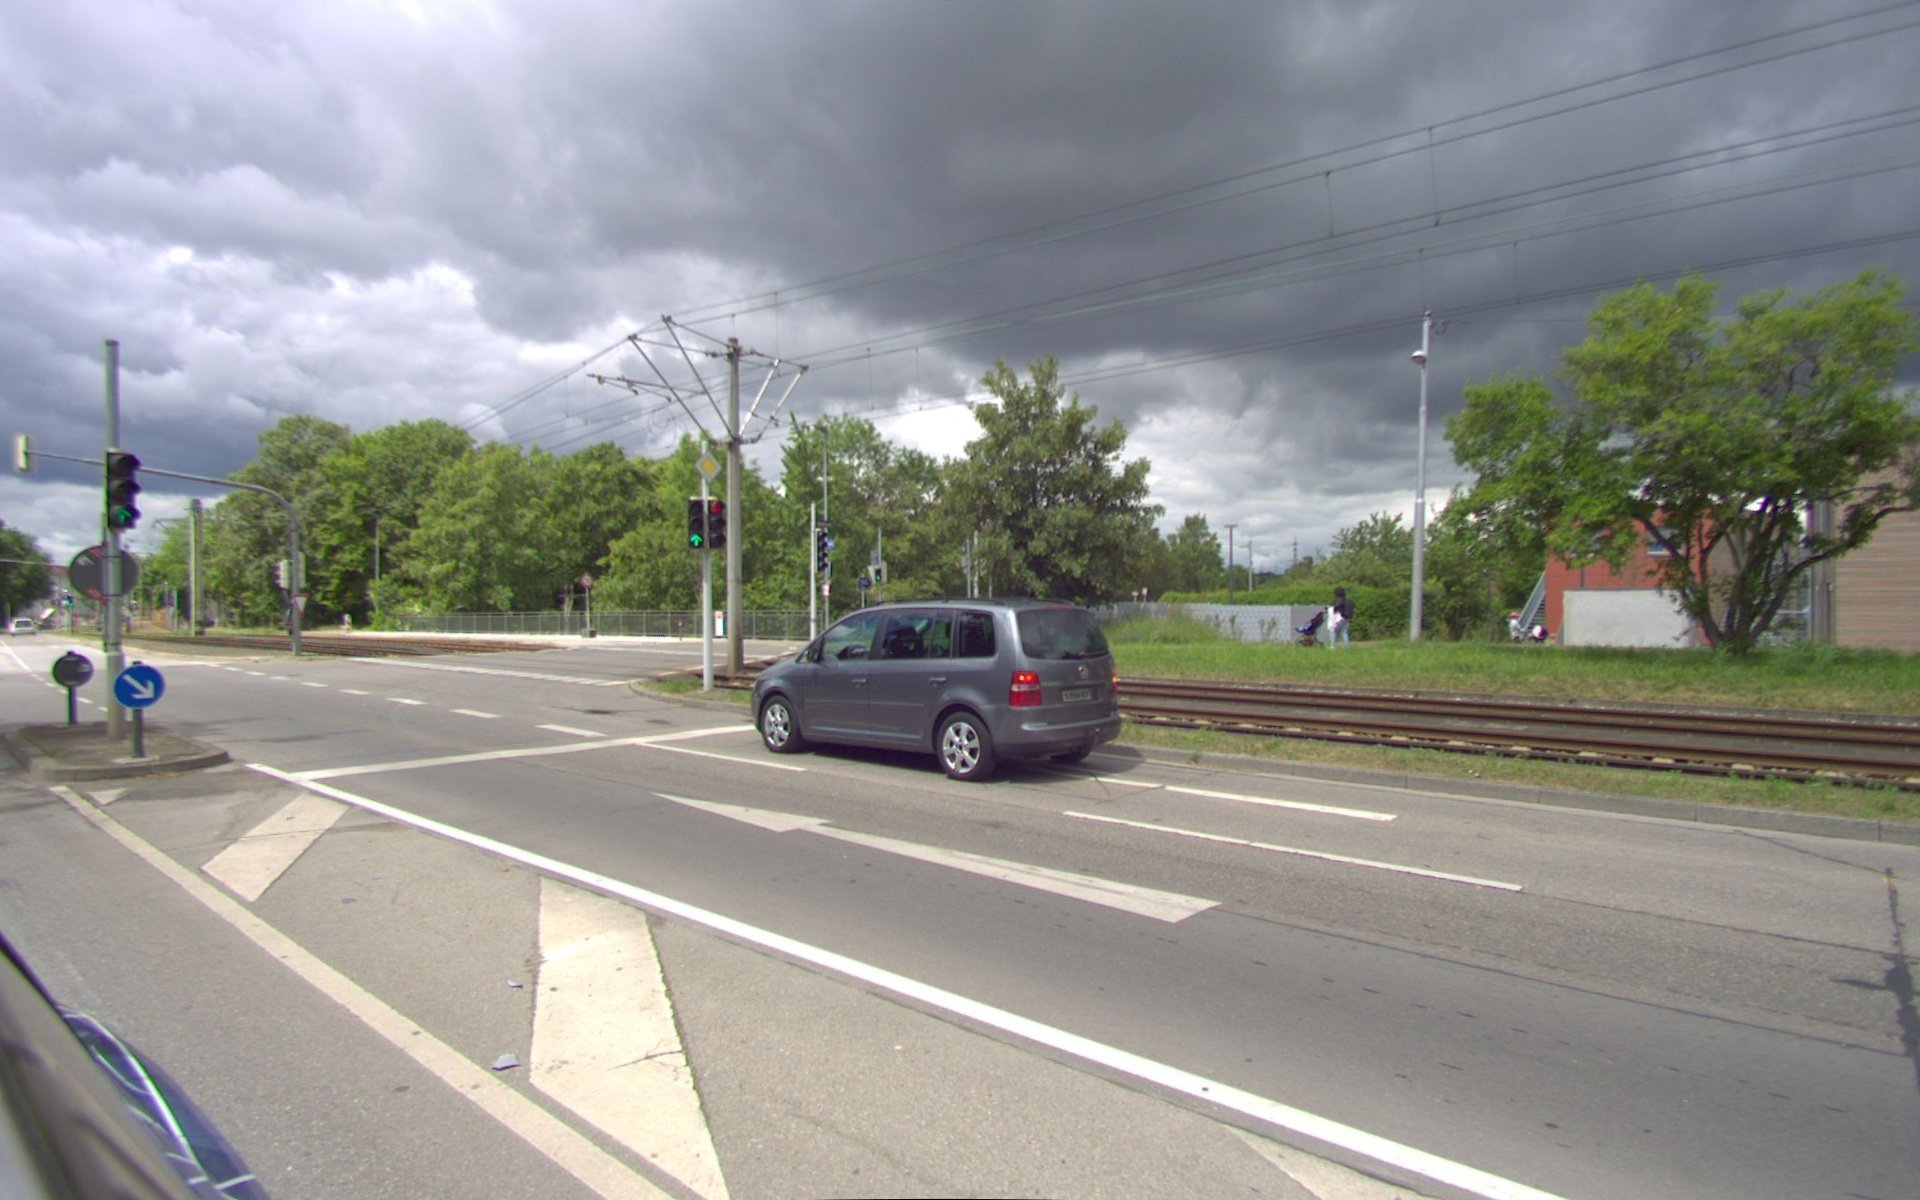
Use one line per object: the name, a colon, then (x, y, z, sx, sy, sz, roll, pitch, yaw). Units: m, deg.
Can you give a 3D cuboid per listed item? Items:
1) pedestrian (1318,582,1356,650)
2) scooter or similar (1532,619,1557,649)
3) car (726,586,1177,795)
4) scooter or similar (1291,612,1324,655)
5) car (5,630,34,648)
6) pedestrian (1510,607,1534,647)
pedestrian: (9.694, 0.401, 26.019, 0.799, 1.736, 0.485, 0, 0, 41)
scooter or similar: (21.417, 1.233, 37.086, 0.710, 1.084, 0.380, 0, 0, 12)
car: (-0.265, 0.708, 10.370, 4.522, 1.672, 1.972, 0, 1, 43)
scooter or similar: (9.108, 0.868, 26.525, 0.717, 1.084, 0.376, 0, 0, 41)
car: (-84.591, 3.468, 91.003, 4.855, 1.358, 1.765, 0, 1, 45)
pedestrian: (20.694, 0.972, 37.256, 0.650, 1.451, 0.490, 0, 0, 13)
